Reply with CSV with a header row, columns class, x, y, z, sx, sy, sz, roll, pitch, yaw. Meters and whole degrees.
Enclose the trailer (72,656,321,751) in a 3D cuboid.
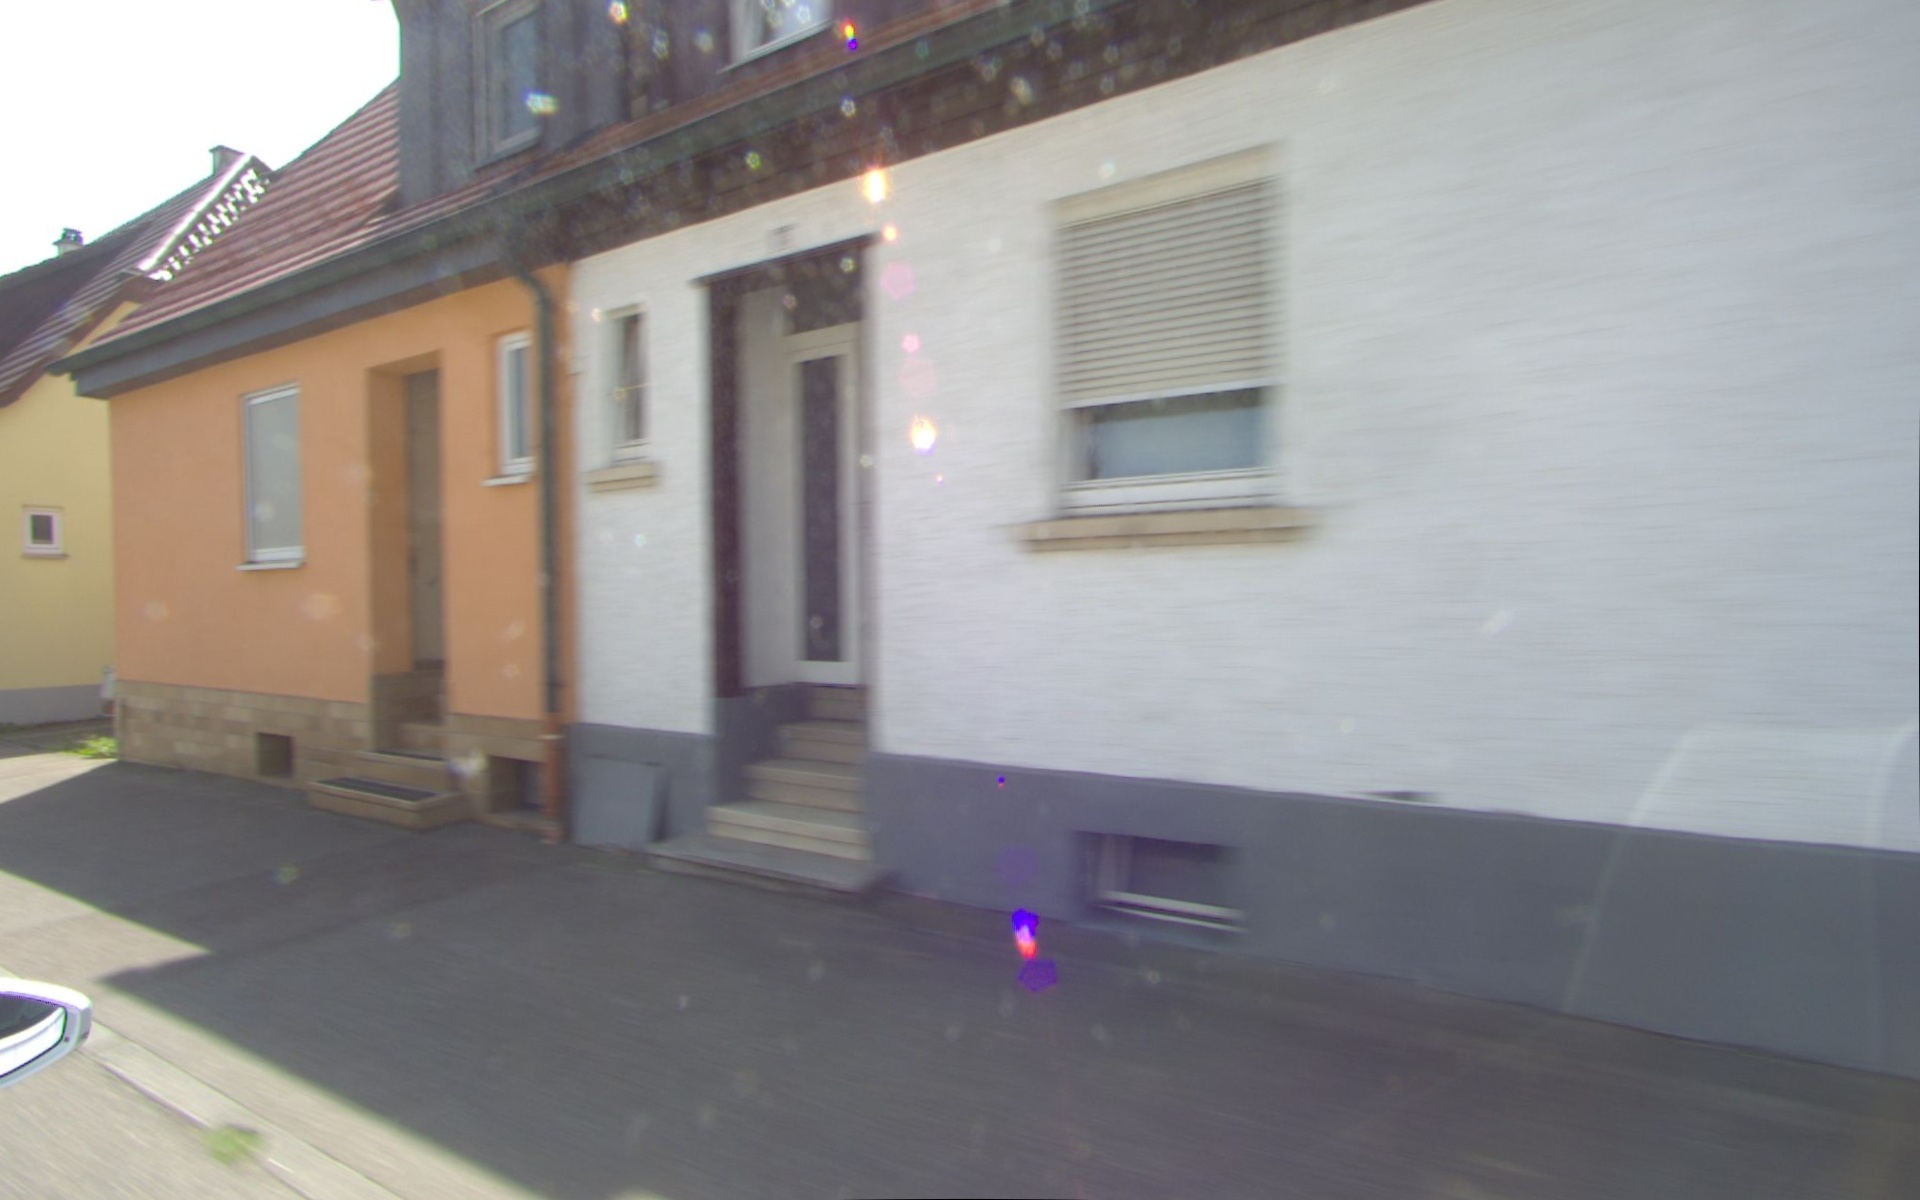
class,x,y,z,sx,sy,sz,roll,pitch,yaw
trailer,-8.815,1.165,11.733,1.218,0.911,2.142,-1,-1,3
